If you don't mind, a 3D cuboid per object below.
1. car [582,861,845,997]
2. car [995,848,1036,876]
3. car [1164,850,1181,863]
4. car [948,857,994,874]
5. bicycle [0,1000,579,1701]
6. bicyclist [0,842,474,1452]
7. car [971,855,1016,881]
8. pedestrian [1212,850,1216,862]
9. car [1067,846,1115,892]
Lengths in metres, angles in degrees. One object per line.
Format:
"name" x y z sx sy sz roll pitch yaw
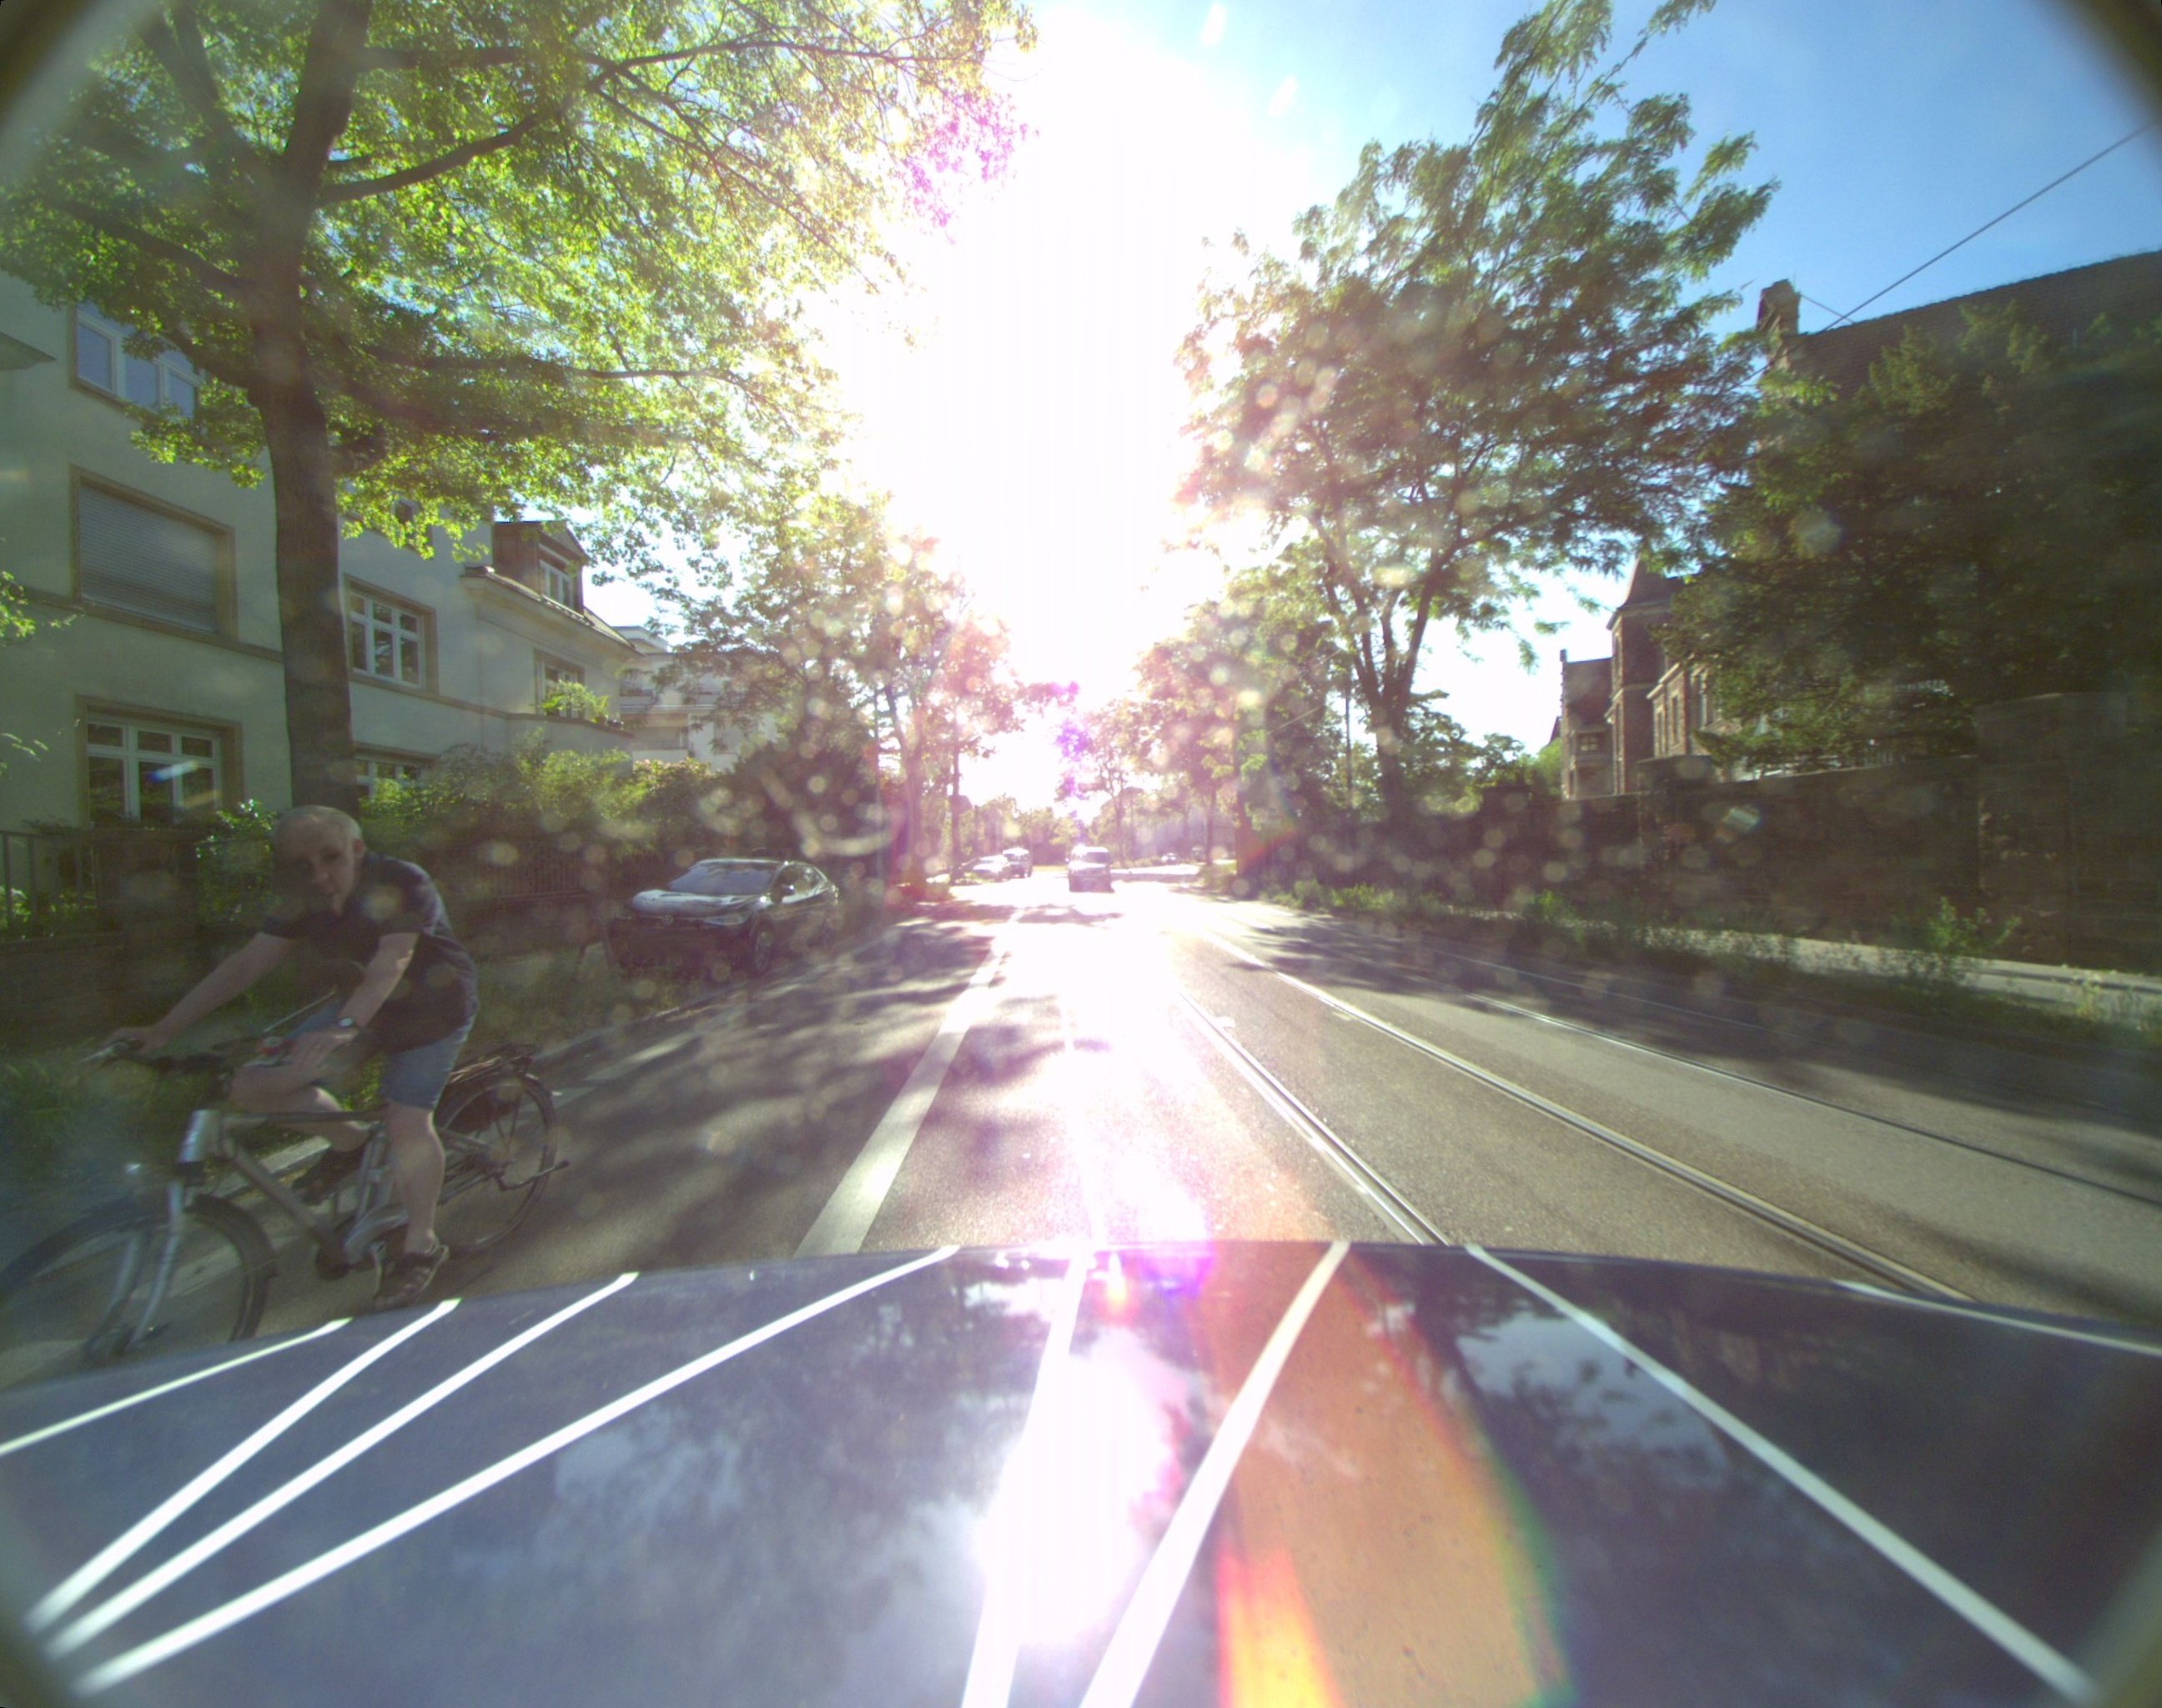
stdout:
"car" -5.201 0.948 11.510 1.919 1.590 4.258 2 0 -1
"car" -4.407 0.506 51.691 1.900 1.775 4.670 -1 0 6
"car" 11.907 0.316 98.724 1.997 1.539 4.002 -2 0 8
"car" -10.048 1.045 69.540 3.998 1.433 1.813 -2 0 -3
"bicycle" -2.532 1.203 2.407 0.588 1.105 1.855 -2 0 1
"bicyclist" -2.532 0.793 2.373 0.644 1.632 0.665 -2 1 1
"car" -5.169 0.794 45.336 1.901 1.402 4.260 -1 0 4
"pedestrian" 19.684 0.294 112.451 0.524 1.823 0.587 -1 1 15
"car" 0.452 0.591 32.900 1.877 1.805 4.967 -2 0 1
